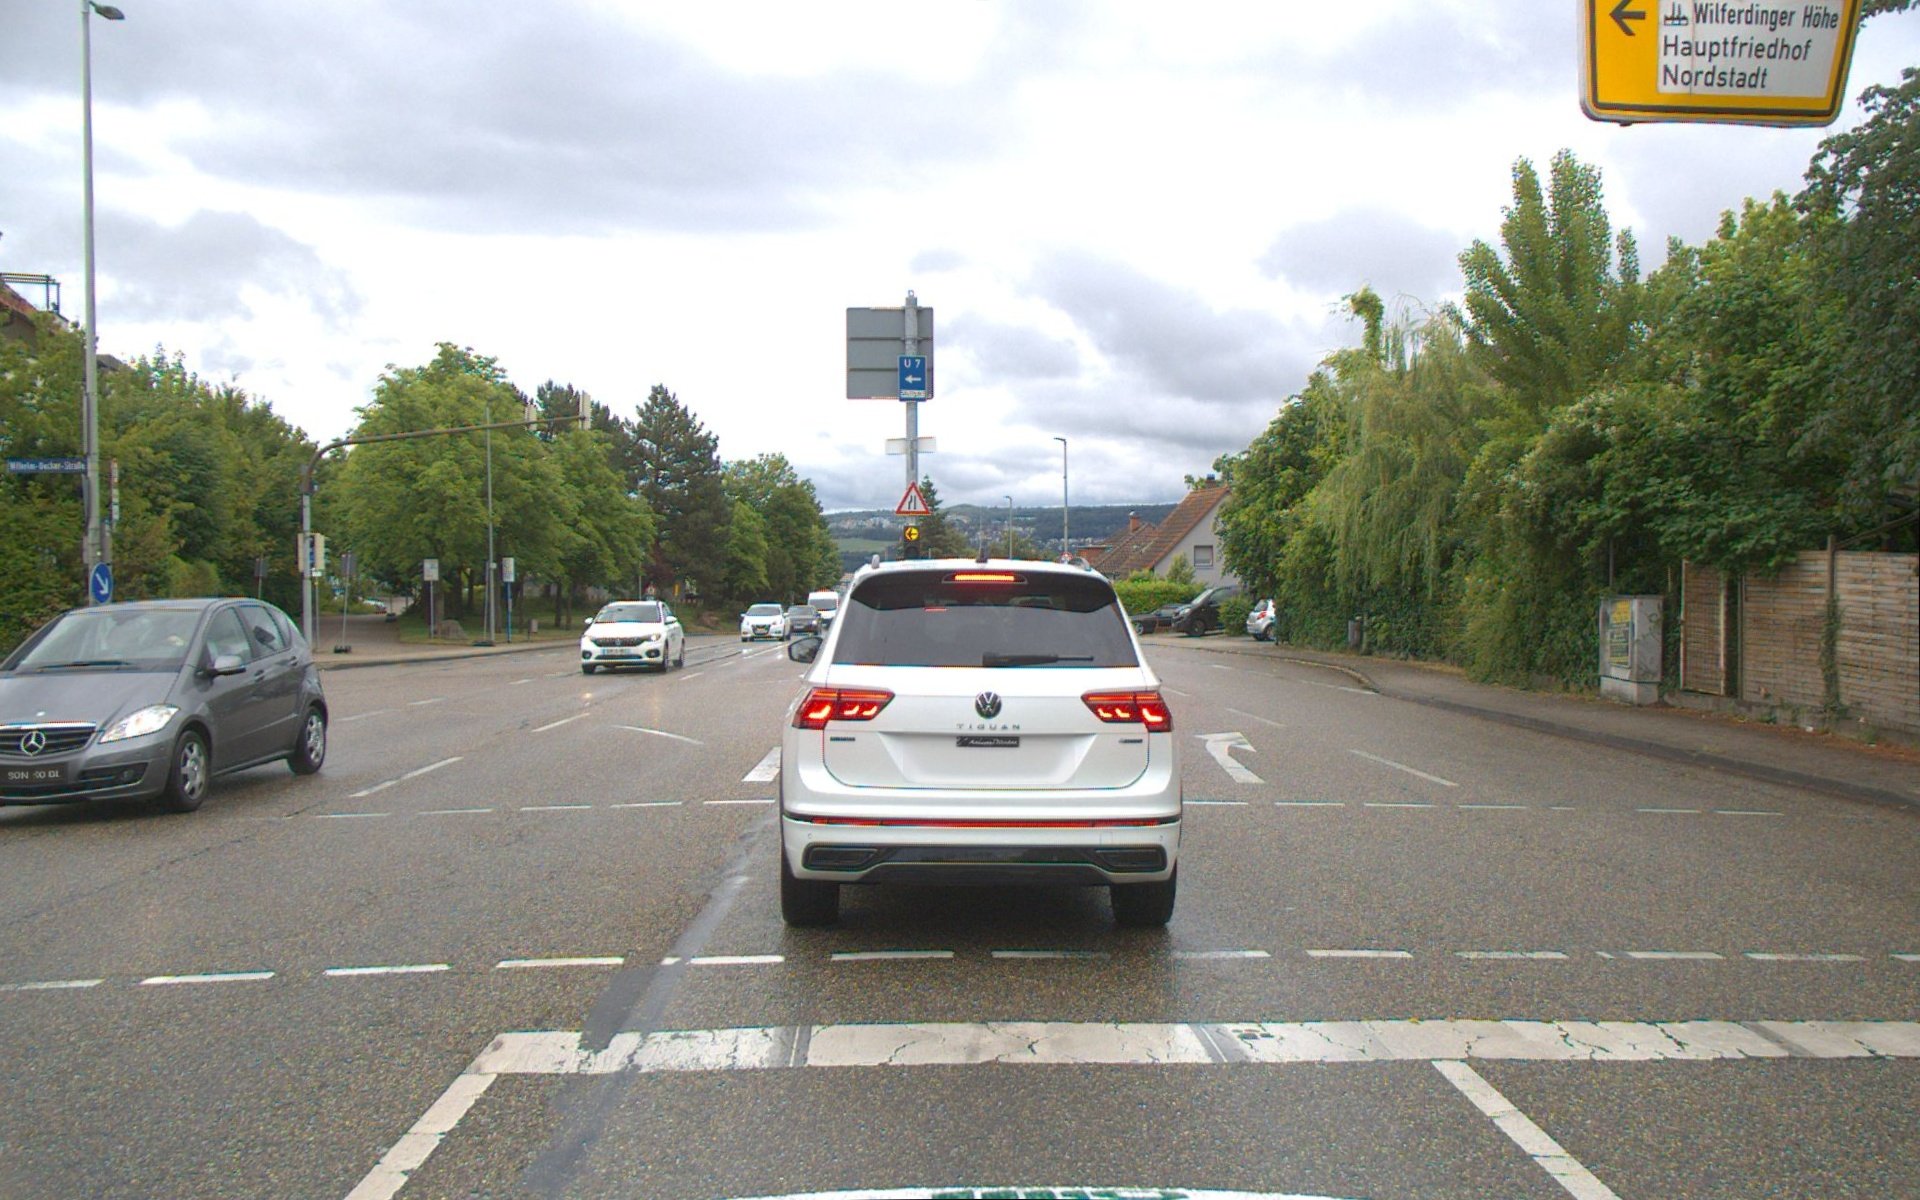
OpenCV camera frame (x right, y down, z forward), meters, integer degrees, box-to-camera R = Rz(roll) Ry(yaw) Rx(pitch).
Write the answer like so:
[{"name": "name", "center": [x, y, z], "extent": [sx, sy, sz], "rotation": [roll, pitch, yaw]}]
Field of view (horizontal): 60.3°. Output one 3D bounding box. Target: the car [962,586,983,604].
[{"name": "car", "center": [1.096, -0.468, 147.095], "extent": [1.813, 1.602, 4.000], "rotation": [-1, 0, -1]}]

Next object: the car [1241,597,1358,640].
[{"name": "car", "center": [11.884, 0.657, 57.997], "extent": [3.644, 1.420, 1.725], "rotation": [-1, -1, -8]}]

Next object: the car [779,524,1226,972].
[{"name": "car", "center": [0.117, 0.579, 8.695], "extent": [1.727, 1.725, 4.271], "rotation": [2, 0, -2]}]

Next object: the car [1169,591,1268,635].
[{"name": "car", "center": [10.245, 0.518, 65.764], "extent": [3.556, 1.654, 1.790], "rotation": [1, 1, -5]}]

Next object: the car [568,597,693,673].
[{"name": "car", "center": [-7.091, 0.708, 36.002], "extent": [1.928, 1.479, 4.307], "rotation": [-1, 1, -2]}]

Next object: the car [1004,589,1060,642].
[{"name": "car", "center": [2.514, 0.521, 58.406], "extent": [1.677, 1.789, 3.800], "rotation": [0, 0, -2]}]

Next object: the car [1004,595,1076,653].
[{"name": "car", "center": [2.142, 0.611, 45.226], "extent": [1.646, 1.485, 3.800], "rotation": [1, 0, -2]}]

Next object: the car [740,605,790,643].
[{"name": "car", "center": [-7.782, 0.947, 66.397], "extent": [1.711, 1.421, 3.800], "rotation": [0, 0, -3]}]

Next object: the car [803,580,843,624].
[{"name": "car", "center": [-8.468, 0.102, 102.692], "extent": [2.252, 2.572, 5.770], "rotation": [-2, 1, -3]}]

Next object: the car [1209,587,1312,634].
[{"name": "car", "center": [11.478, 0.388, 63.354], "extent": [3.556, 1.777, 1.706], "rotation": [0, 1, -5]}]

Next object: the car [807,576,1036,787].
[{"name": "car", "center": [-0.311, 0.624, 14.785], "extent": [1.762, 1.617, 3.926], "rotation": [0, 0, 0]}]

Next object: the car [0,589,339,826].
[{"name": "car", "center": [-6.493, 0.751, 13.399], "extent": [1.665, 1.627, 3.548], "rotation": [-2, 0, -3]}]

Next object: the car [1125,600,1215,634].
[{"name": "car", "center": [8.929, 0.748, 70.518], "extent": [3.613, 1.394, 1.518], "rotation": [1, -2, -2]}]

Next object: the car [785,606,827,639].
[{"name": "car", "center": [-7.578, 1.088, 81.684], "extent": [1.740, 1.528, 4.470], "rotation": [-1, 0, -2]}]
